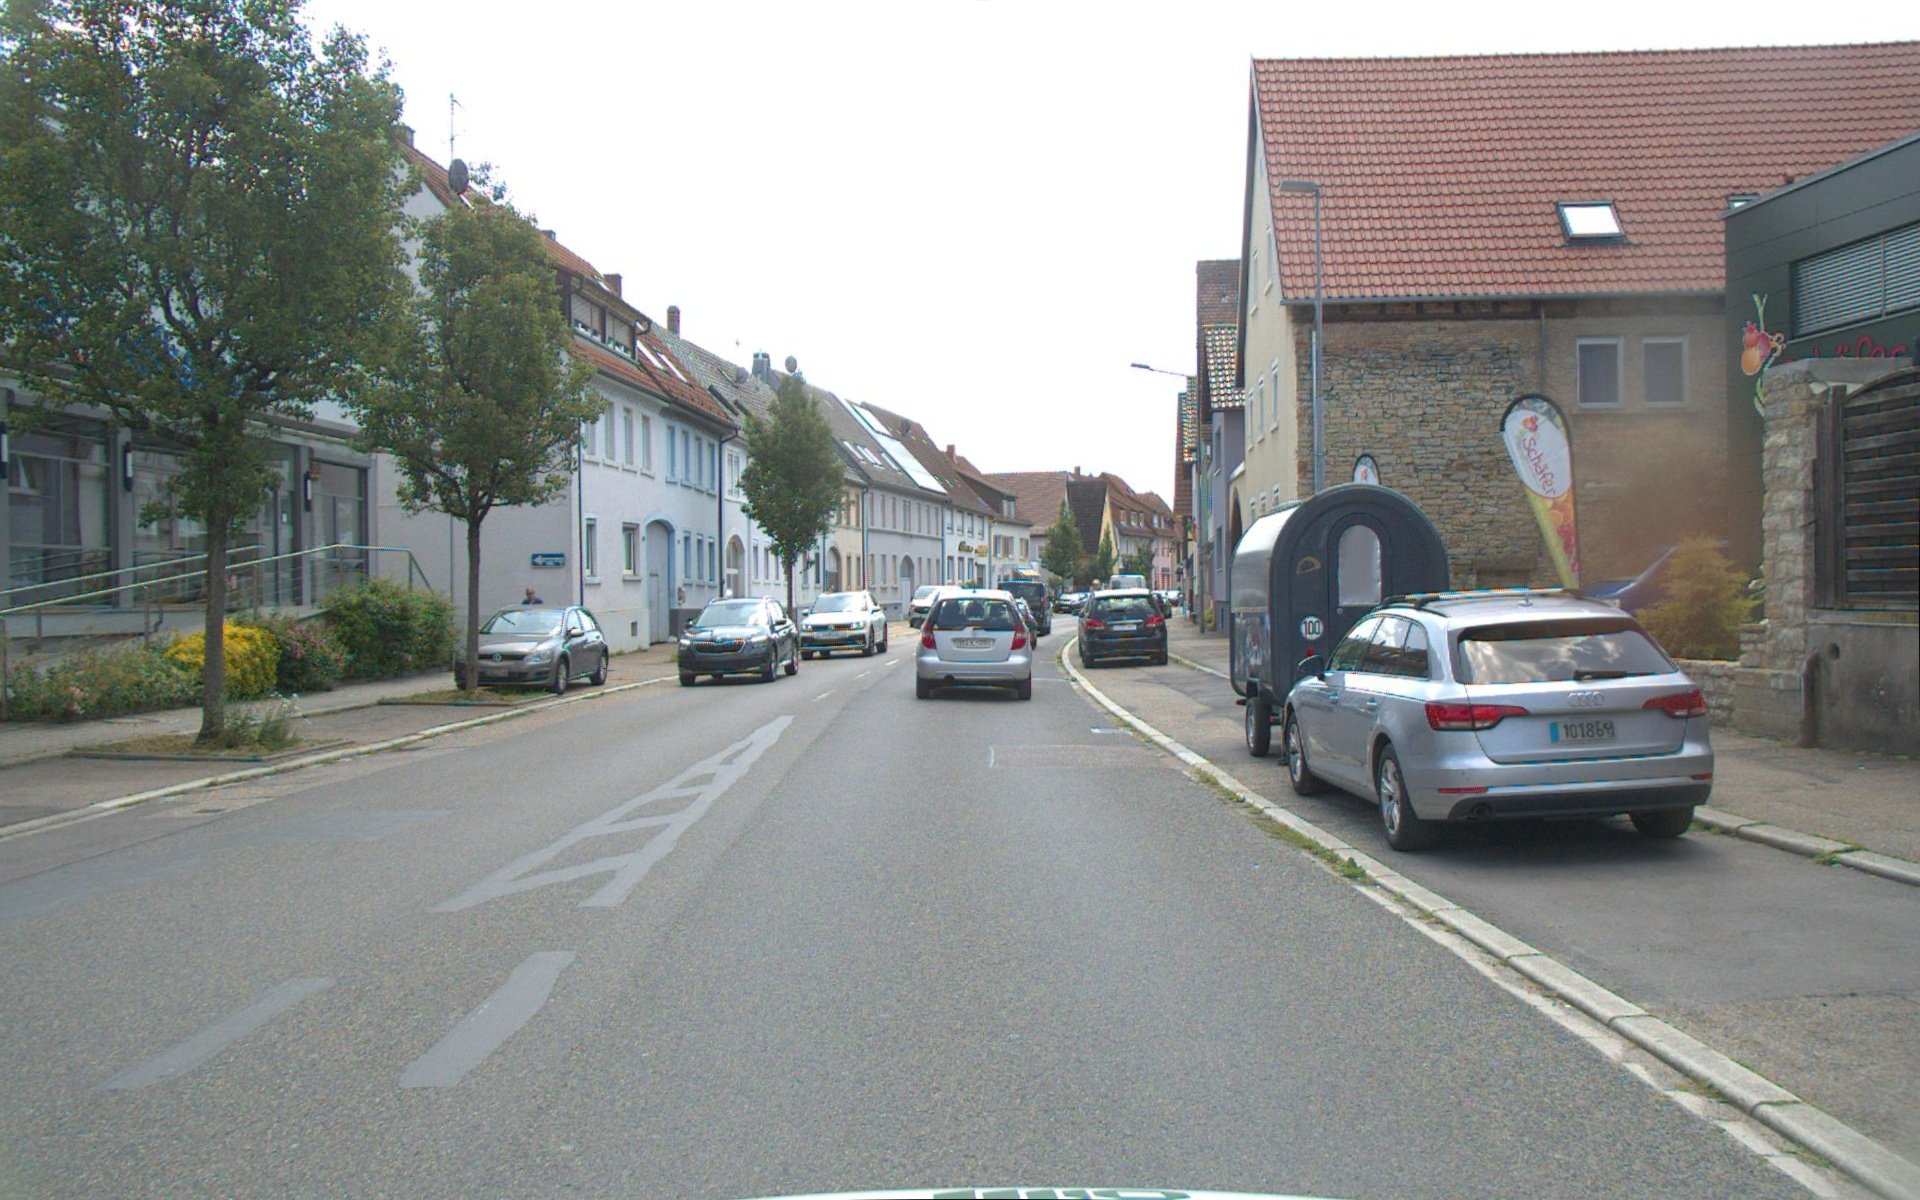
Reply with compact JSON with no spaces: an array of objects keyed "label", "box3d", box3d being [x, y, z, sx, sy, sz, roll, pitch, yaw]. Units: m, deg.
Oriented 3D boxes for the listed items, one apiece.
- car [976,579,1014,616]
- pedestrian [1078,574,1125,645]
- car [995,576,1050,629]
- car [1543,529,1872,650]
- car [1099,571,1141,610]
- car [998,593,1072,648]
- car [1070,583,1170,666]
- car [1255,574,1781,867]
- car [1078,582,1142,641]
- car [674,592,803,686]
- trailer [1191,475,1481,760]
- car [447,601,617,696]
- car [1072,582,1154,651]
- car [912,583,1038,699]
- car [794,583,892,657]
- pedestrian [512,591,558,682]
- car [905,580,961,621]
[{"label":"car","box3d":[2.066,-0.121,97.933,1.951,2.049,4.002,-2,-1,5]},{"label":"pedestrian","box3d":[3.788,0.241,44.246,1.072,1.853,1.471,-1,0,11]},{"label":"car","box3d":[2.404,0.104,62.676,1.731,1.921,4.450,1,0,6]},{"label":"car","box3d":[13.182,-0.189,29.331,4.951,1.984,1.998,-1,0,-4]},{"label":"car","box3d":[9.886,-0.578,102.163,2.188,2.261,4.003,-2,-1,10]},{"label":"car","box3d":[2.168,0.570,46.905,1.904,1.432,4.002,1,0,5]},{"label":"car","box3d":[3.394,0.469,35.162,1.951,1.586,4.003,-2,0,5]},{"label":"car","box3d":[3.406,0.633,11.187,1.837,1.507,4.673,-2,0,-2]},{"label":"car","box3d":[4.587,0.358,50.255,1.821,1.654,4.199,-2,-1,6]},{"label":"car","box3d":[-4.092,0.680,31.097,1.707,1.553,4.020,-3,0,2]},{"label":"trailer","box3d":[3.480,0.133,15.994,1.808,2.395,3.588,-2,0,-2]},{"label":"car","box3d":[-7.303,0.778,28.616,1.767,1.486,4.159,0,0,1]},{"label":"car","box3d":[3.734,0.403,40.828,1.822,1.558,4.198,-2,-1,3]},{"label":"car","box3d":[0.159,0.601,25.827,1.733,1.622,3.998,1,0,-2]},{"label":"car","box3d":[-2.964,0.467,42.794,1.913,1.816,4.654,0,0,4]},{"label":"pedestrian","box3d":[-8.691,0.740,33.866,0.724,1.833,0.642,-2,-1,-1]},{"label":"car","box3d":[-1.259,0.011,79.887,2.047,1.917,4.003,-1,0,8]}]
